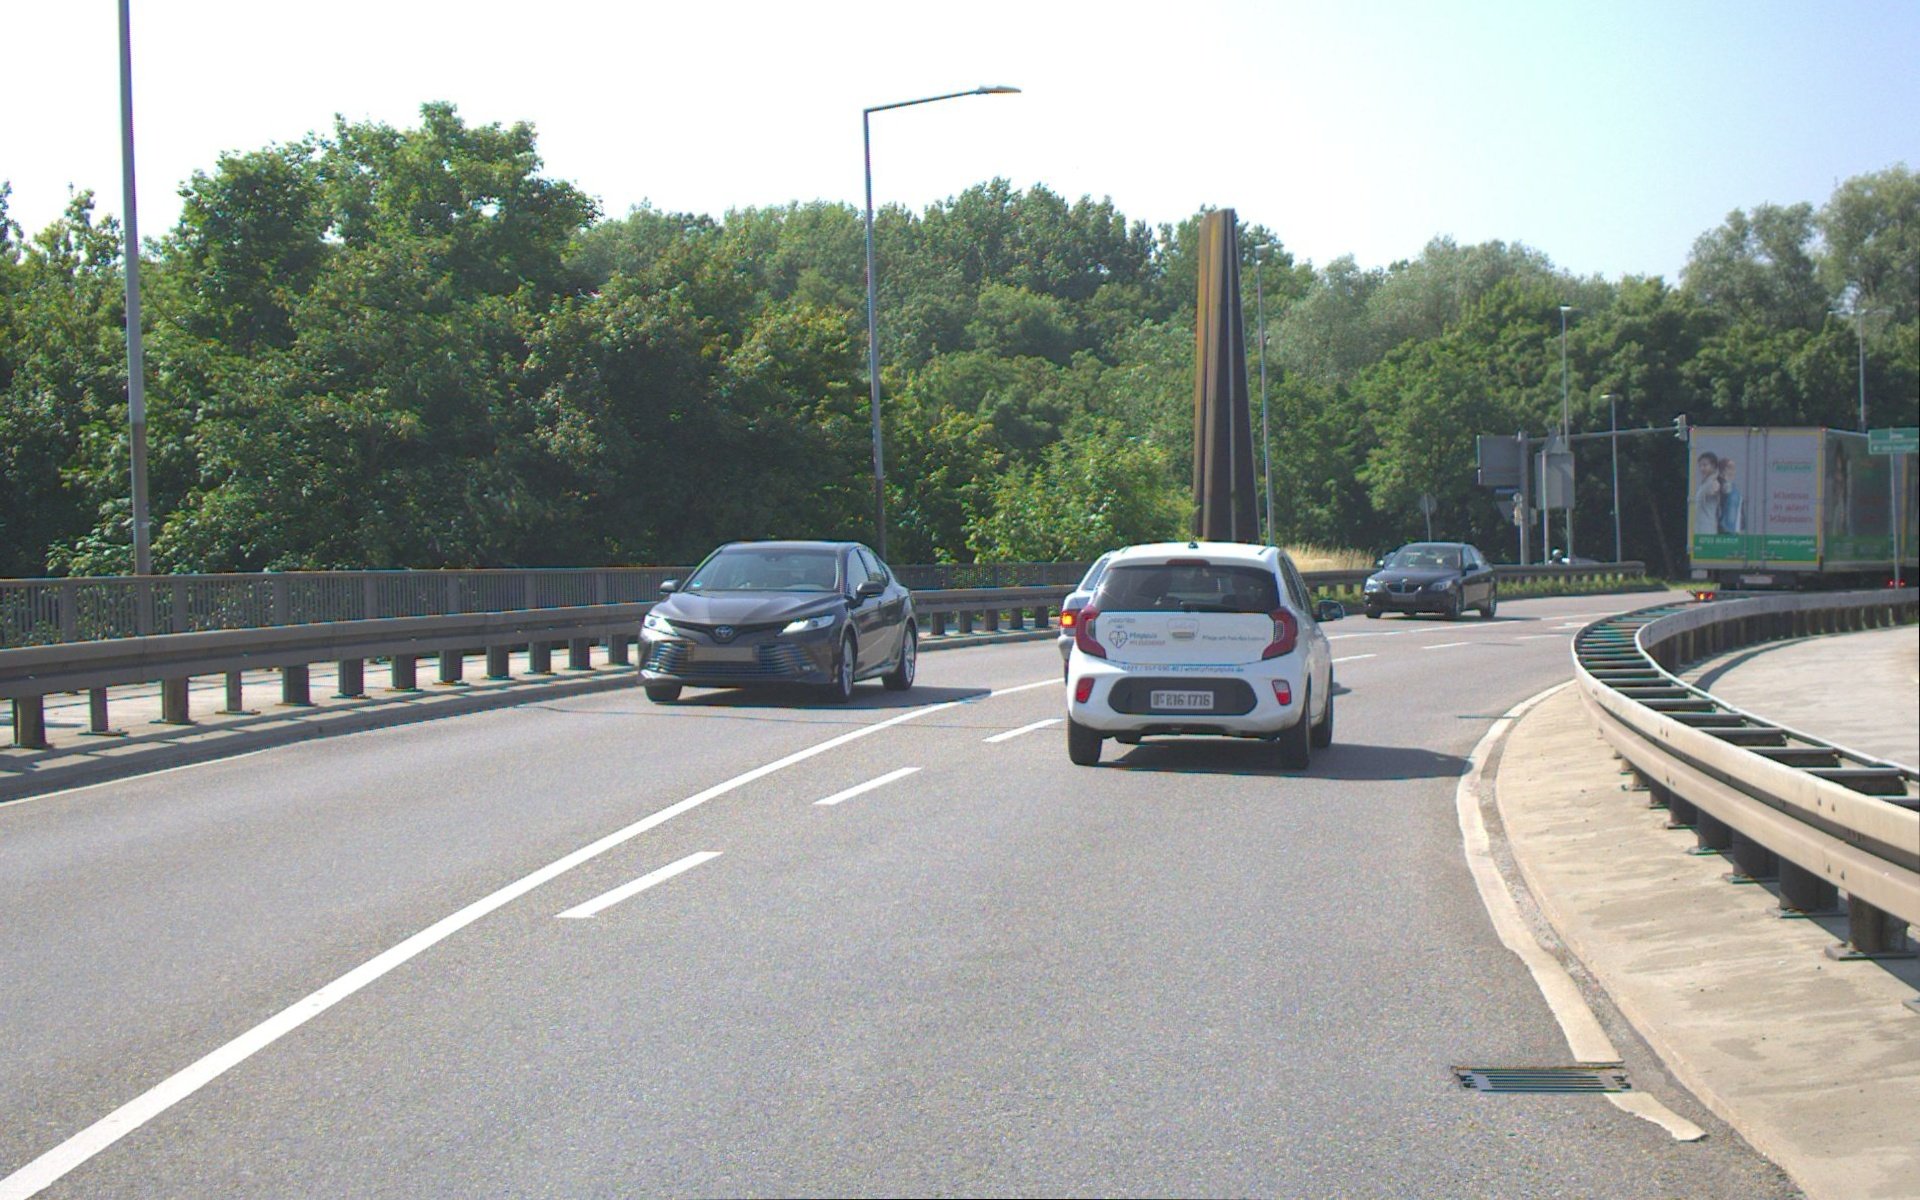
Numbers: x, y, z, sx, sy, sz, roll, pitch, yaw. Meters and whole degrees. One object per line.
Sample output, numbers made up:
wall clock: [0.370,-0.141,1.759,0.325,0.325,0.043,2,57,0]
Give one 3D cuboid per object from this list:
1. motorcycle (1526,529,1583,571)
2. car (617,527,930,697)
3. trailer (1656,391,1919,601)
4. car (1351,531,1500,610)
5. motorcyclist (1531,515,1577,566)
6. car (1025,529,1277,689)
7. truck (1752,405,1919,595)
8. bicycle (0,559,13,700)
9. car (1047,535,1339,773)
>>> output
motorcycle: [22.265,-1.871,128.811,0.896,1.524,1.982,1,0,-37]
car: [-1.637,0.059,32.033,1.819,1.425,4.862,0,1,10]
trailer: [16.173,-1.998,66.680,3.229,3.745,7.814,3,2,26]
car: [9.134,-0.607,67.208,1.858,1.437,4.511,1,2,21]
motorcyclist: [22.262,-2.228,128.836,0.889,1.864,1.464,1,0,-37]
car: [2.031,0.036,35.085,1.940,1.481,4.898,1,1,11]
truck: [19.700,-2.124,73.895,3.265,3.745,8.359,3,2,26]
bicycle: [-7.509,0.254,24.981,0.574,1.043,1.709,-2,2,7]
car: [1.720,0.314,24.266,1.702,1.489,3.999,2,1,8]
